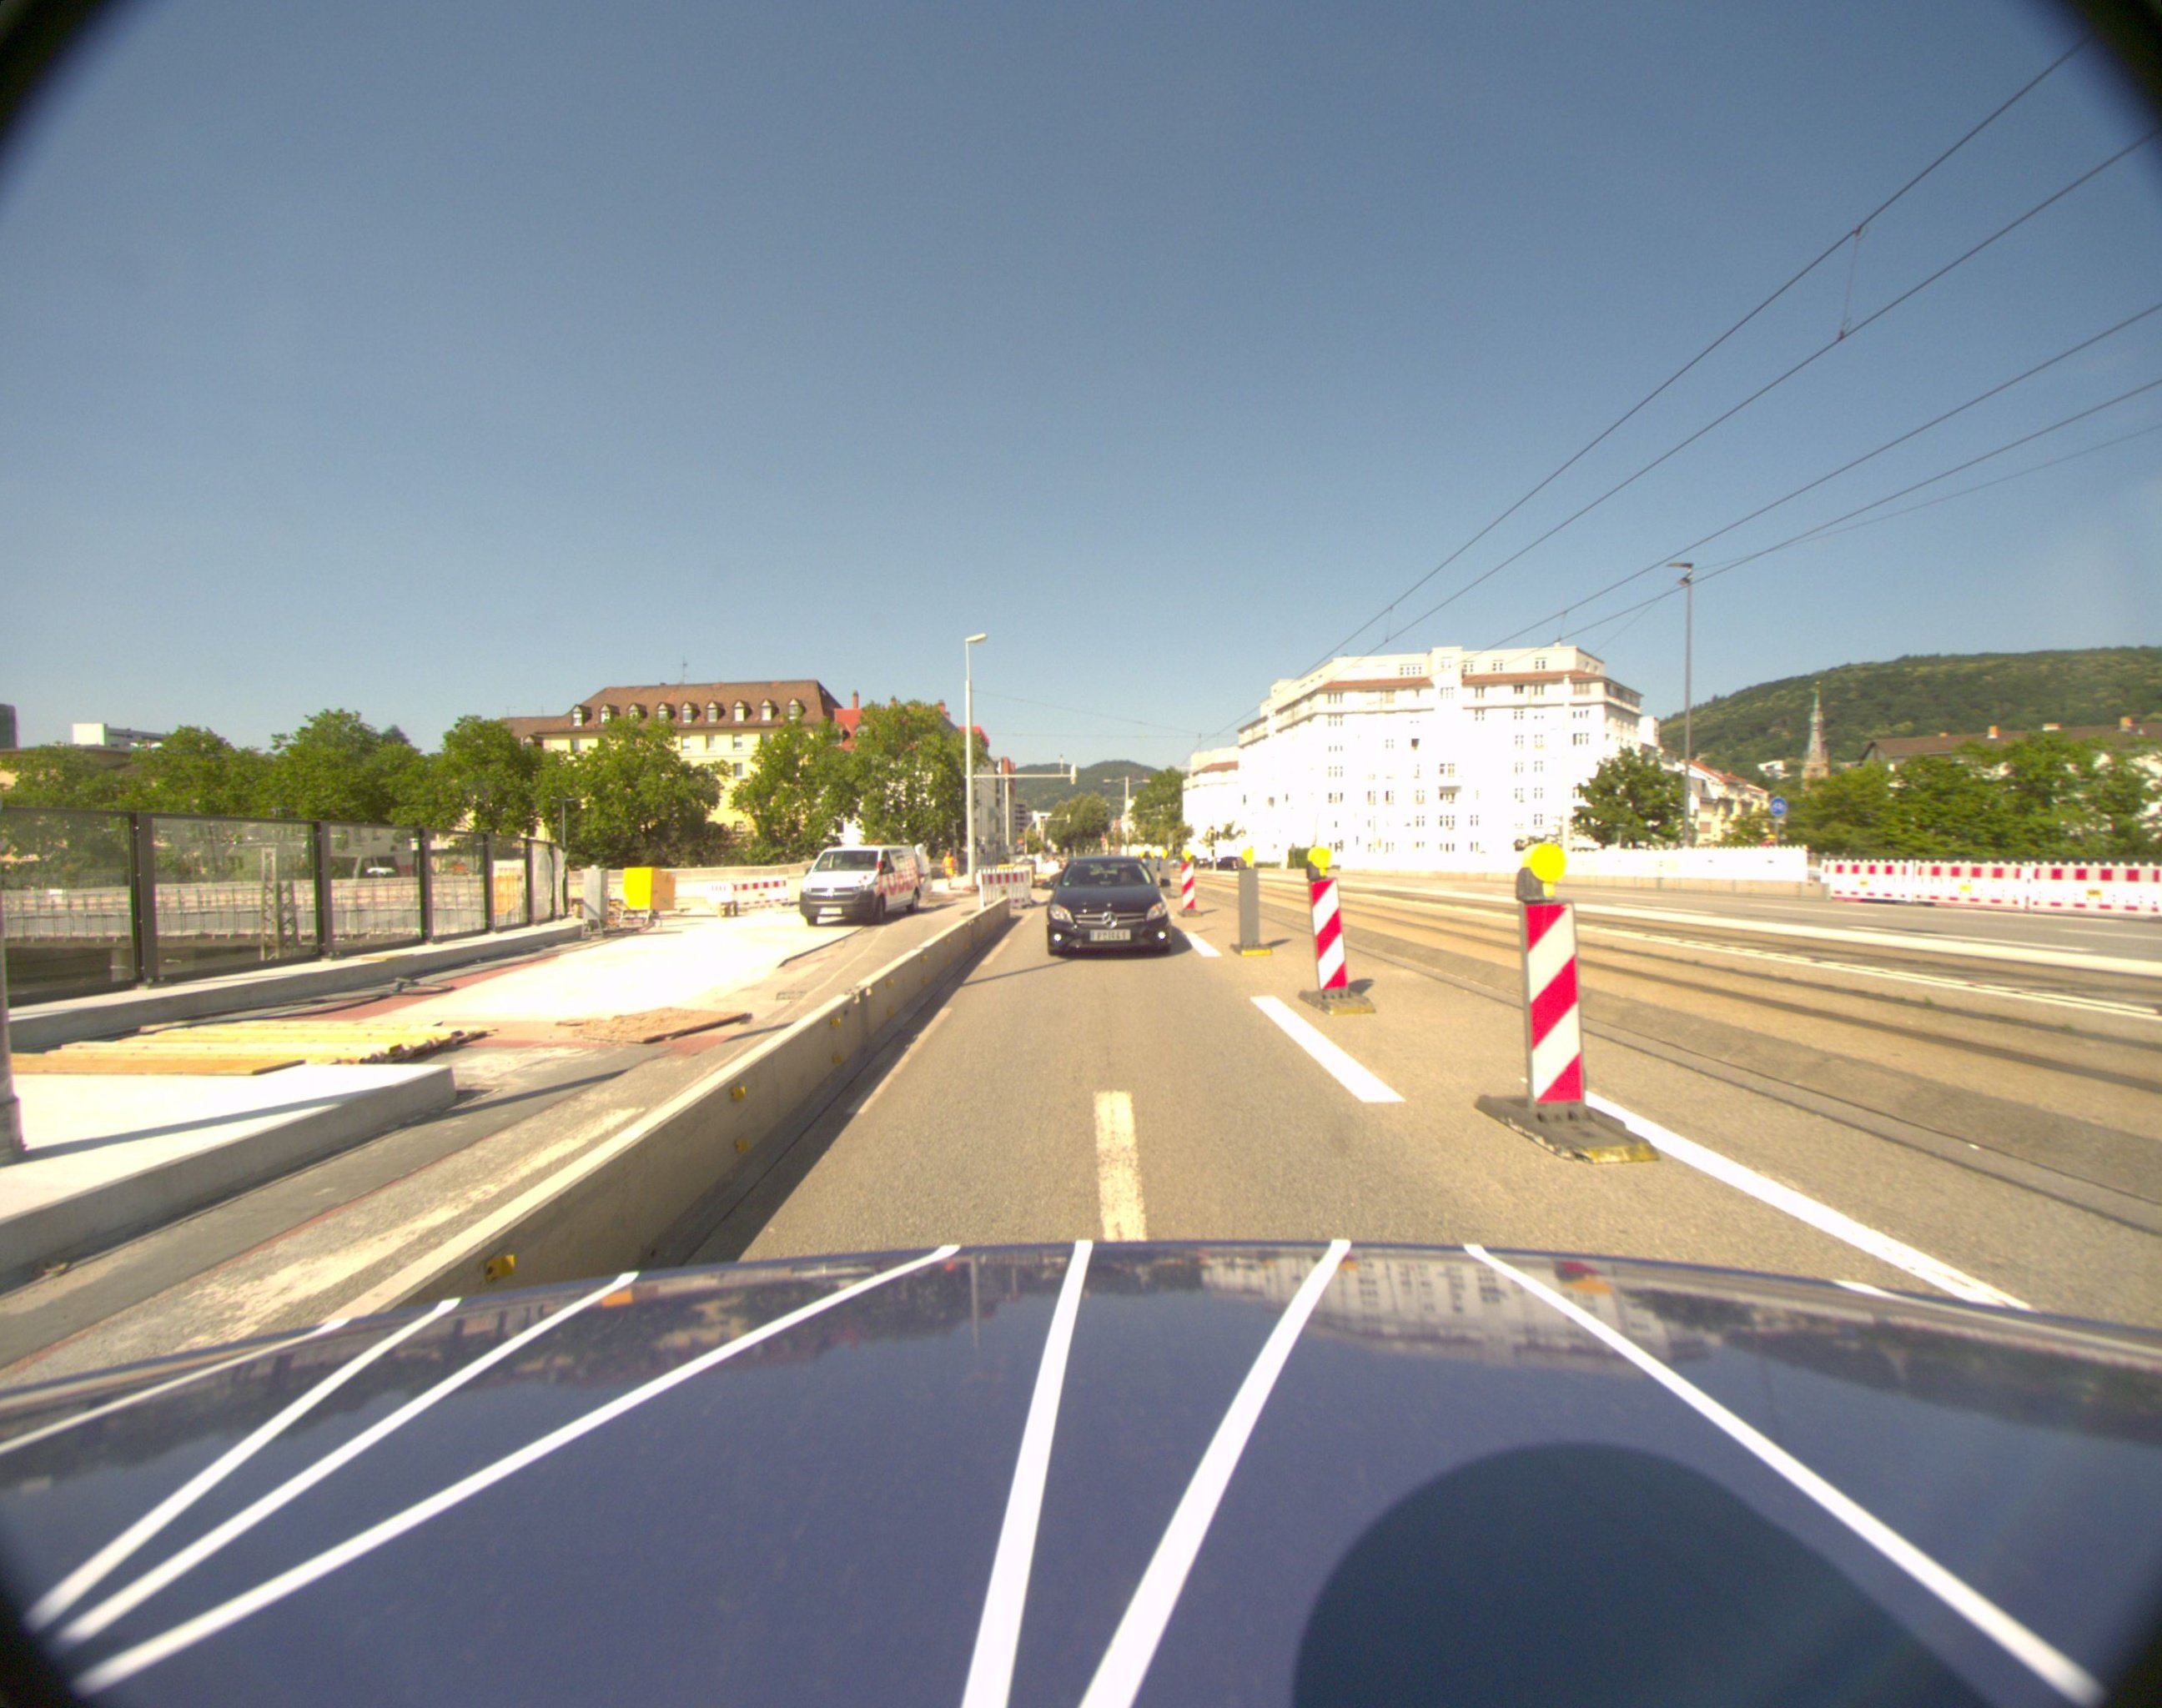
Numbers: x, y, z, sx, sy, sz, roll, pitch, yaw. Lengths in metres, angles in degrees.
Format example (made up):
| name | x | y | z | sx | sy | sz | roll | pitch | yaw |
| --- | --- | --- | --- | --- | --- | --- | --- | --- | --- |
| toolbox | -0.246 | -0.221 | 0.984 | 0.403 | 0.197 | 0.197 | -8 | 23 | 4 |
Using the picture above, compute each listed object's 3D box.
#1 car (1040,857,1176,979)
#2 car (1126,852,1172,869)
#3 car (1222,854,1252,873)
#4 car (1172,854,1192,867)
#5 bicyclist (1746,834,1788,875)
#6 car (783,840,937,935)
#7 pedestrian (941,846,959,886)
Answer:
| name | x | y | z | sx | sy | sz | roll | pitch | yaw |
| --- | --- | --- | --- | --- | --- | --- | --- | --- | --- |
| car | 0.379 | 0.825 | 11.921 | 1.698 | 1.389 | 4.362 | -2 | 1 | 1 |
| car | 6.533 | 0.597 | 73.594 | 2.044 | 1.477 | 3.989 | -2 | 0 | -44 |
| car | 13.142 | 0.783 | 64.122 | 1.801 | 1.477 | 4.000 | -1 | 0 | 2 |
| car | 12.310 | 0.751 | 93.115 | 2.038 | 1.478 | 3.999 | 0 | 1 | 2 |
| bicyclist | 26.359 | 0.009 | 29.200 | 0.858 | 1.510 | 0.817 | -2 | 1 | 0 |
| car | -5.642 | 0.707 | 20.516 | 1.938 | 2.078 | 6.469 | -1 | 1 | 3 |
| pedestrian | -6.588 | 0.595 | 38.315 | 0.761 | 1.973 | 0.843 | 1 | 2 | 1 |
